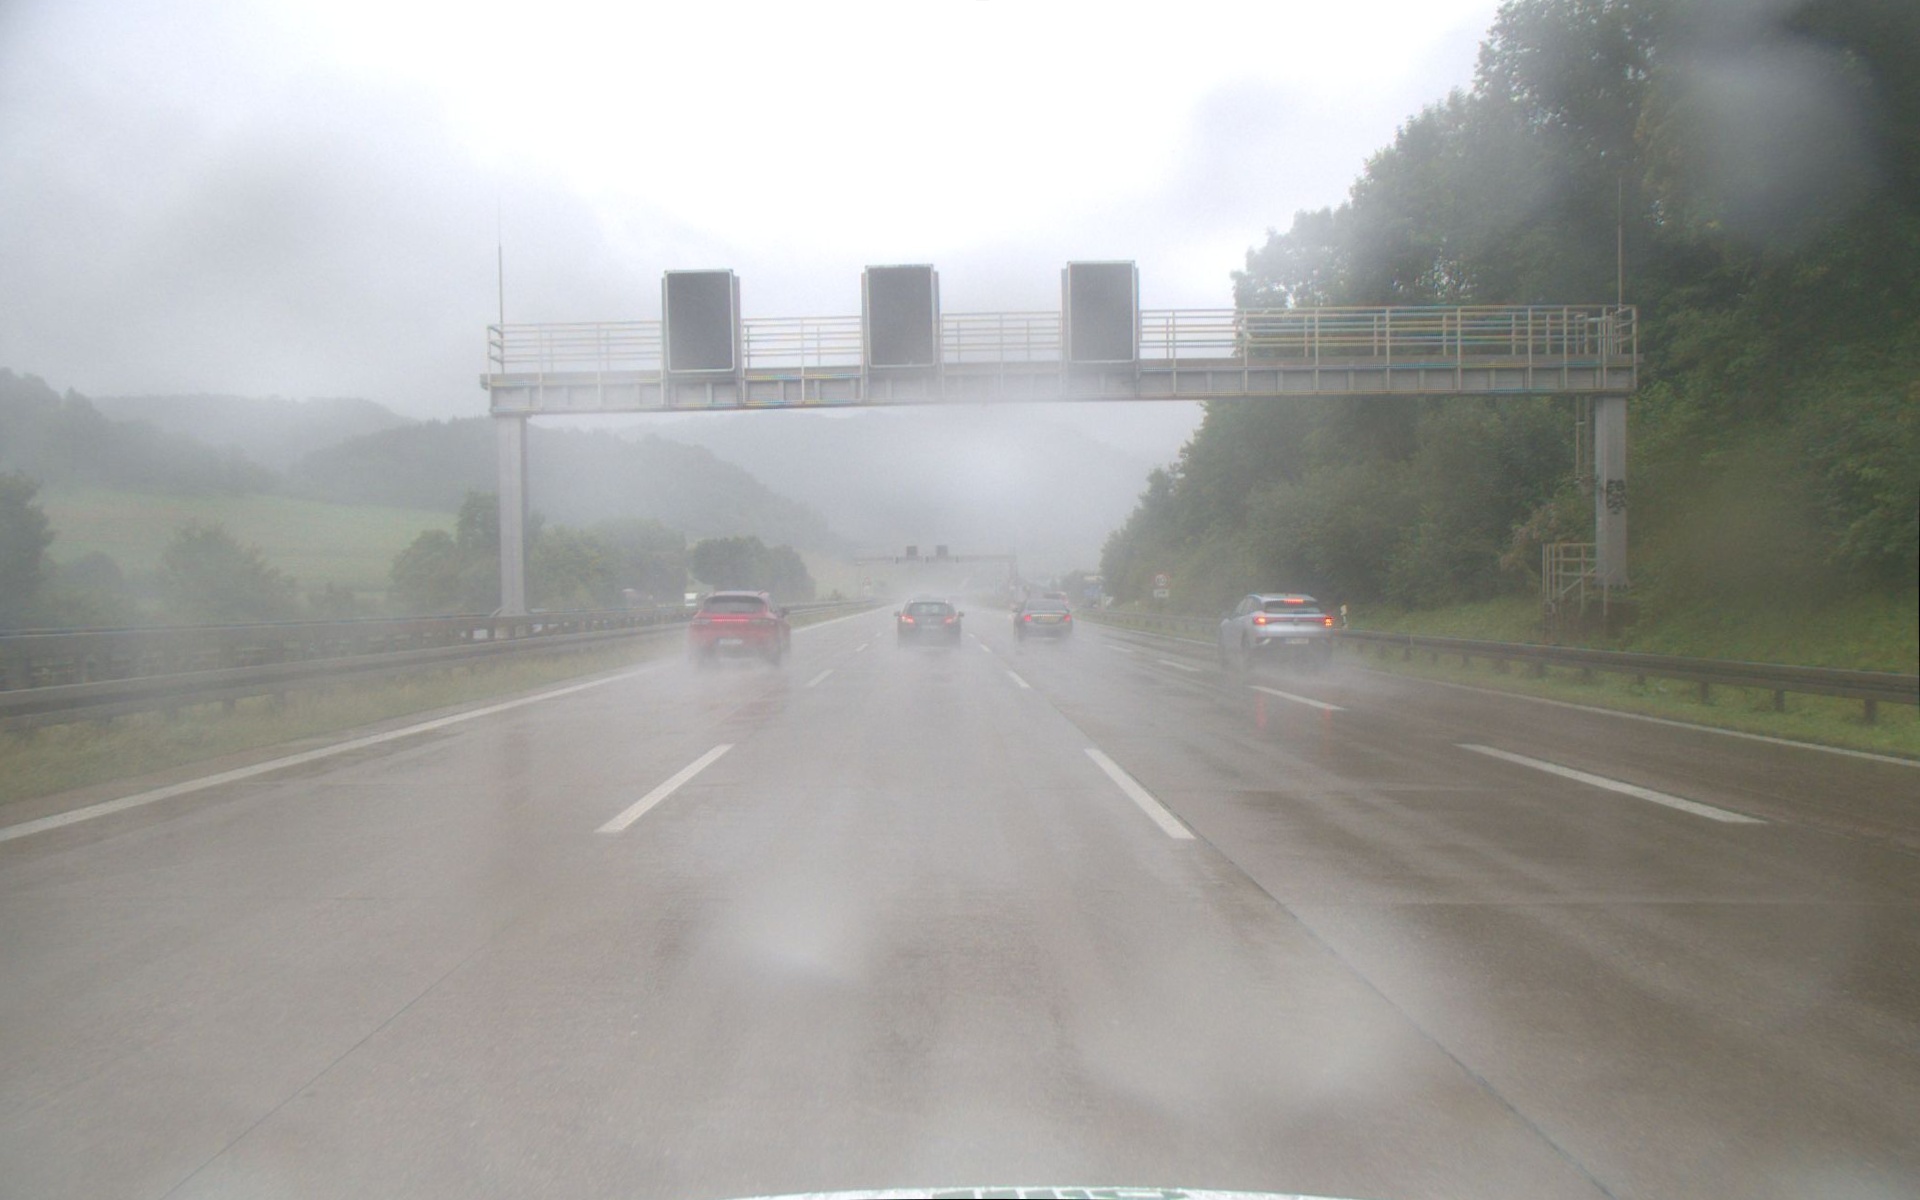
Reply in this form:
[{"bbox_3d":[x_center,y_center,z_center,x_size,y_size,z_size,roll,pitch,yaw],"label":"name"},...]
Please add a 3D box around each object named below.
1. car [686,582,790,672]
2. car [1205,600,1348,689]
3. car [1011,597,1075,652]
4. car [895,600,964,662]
[{"bbox_3d":[-4.756,0.548,35.992,1.846,1.847,3.998,0,0,-2],"label":"car"},{"bbox_3d":[6.830,0.916,36.327,1.953,1.781,5.661,1,0,-1],"label":"car"},{"bbox_3d":[2.830,0.815,57.162,1.931,1.791,3.999,0,0,-1],"label":"car"},{"bbox_3d":[-0.837,0.842,46.159,1.822,1.617,3.999,1,0,-1],"label":"car"}]
